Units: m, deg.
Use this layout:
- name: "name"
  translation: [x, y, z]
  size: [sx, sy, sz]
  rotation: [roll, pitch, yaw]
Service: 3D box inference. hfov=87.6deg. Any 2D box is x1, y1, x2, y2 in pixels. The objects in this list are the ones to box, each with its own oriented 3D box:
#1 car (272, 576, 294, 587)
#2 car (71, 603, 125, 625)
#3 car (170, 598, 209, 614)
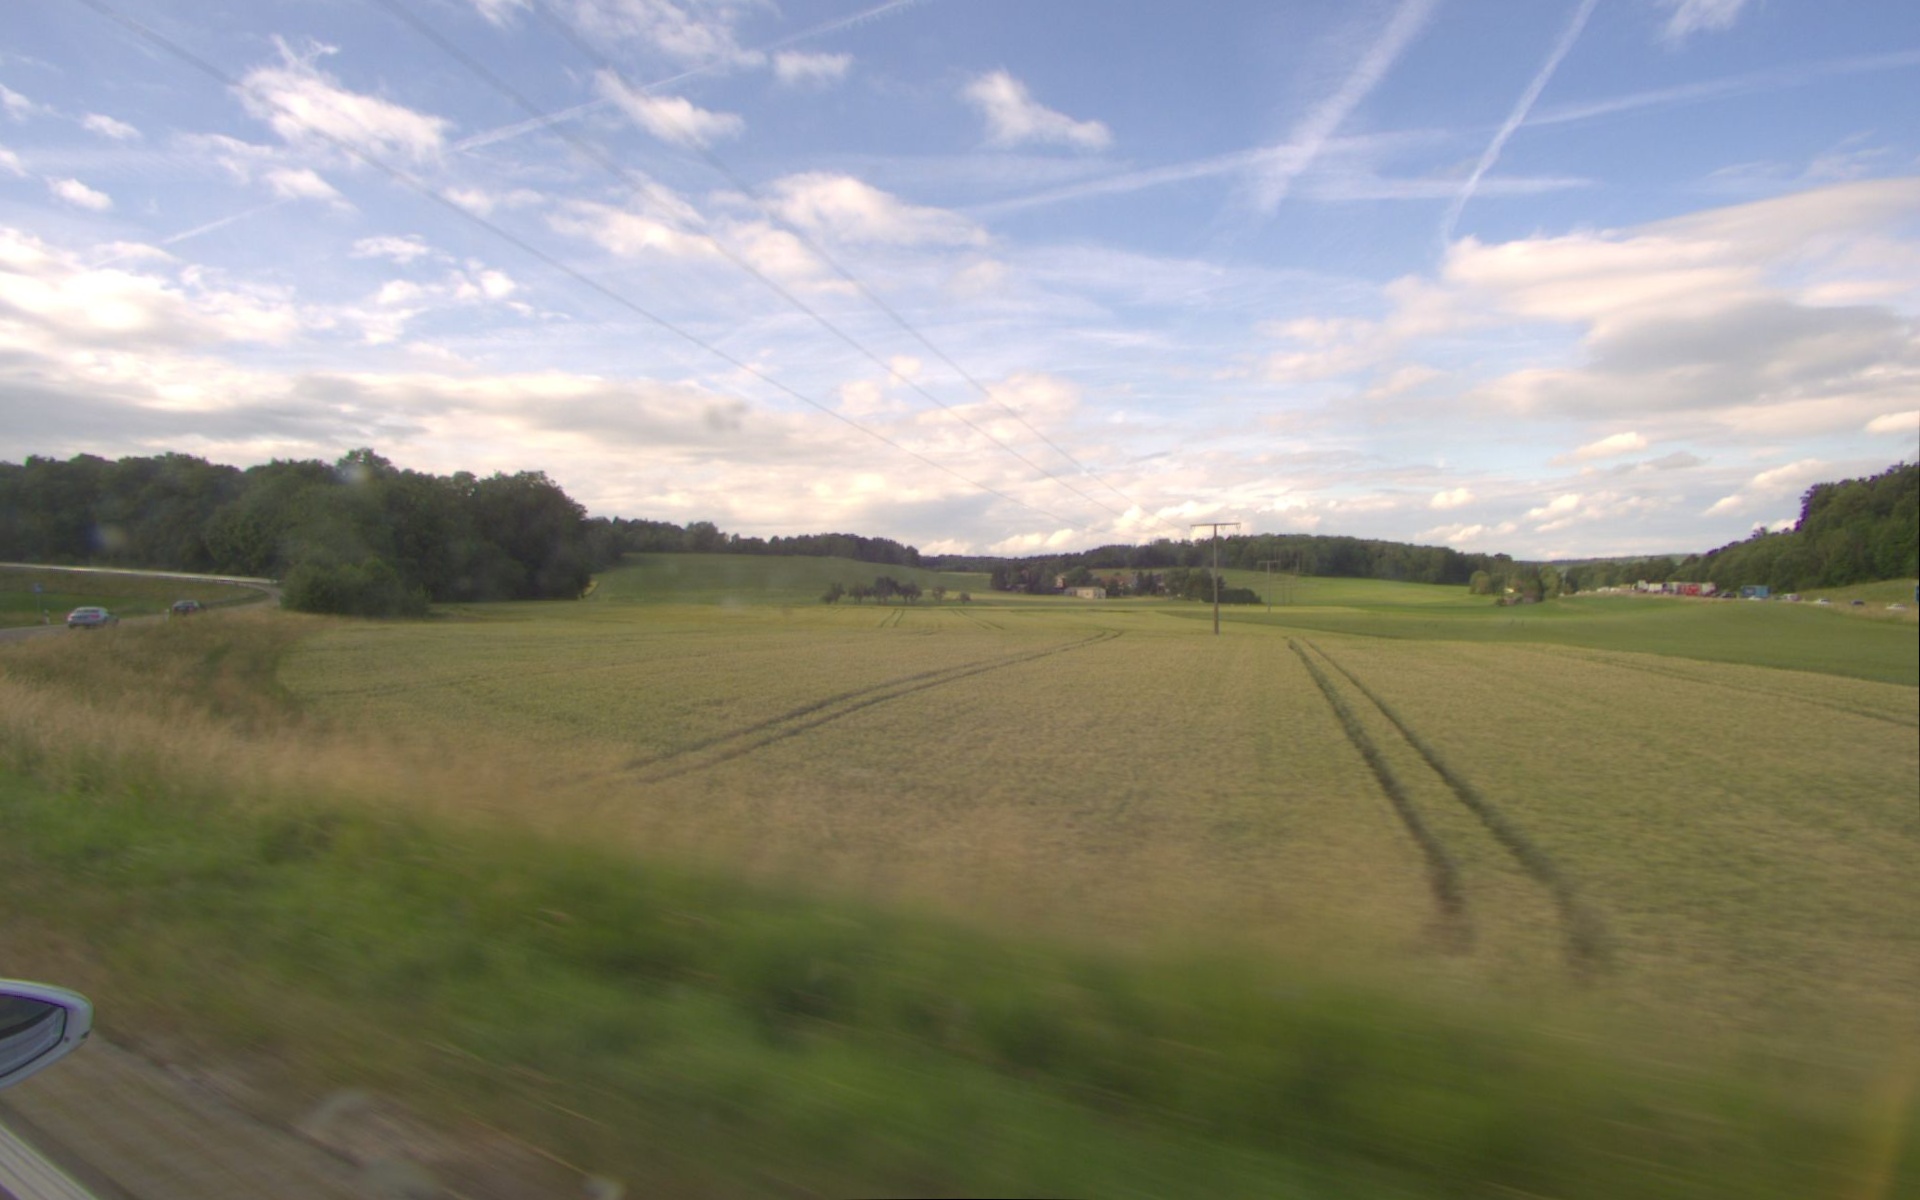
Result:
- name: "car"
  translation: [-117.741, -3.204, 174.048]
  size: [3.946, 1.796, 1.987]
  rotation: [2, 2, 36]
- name: "car"
  translation: [-58.579, 0.924, 68.125]
  size: [1.661, 1.394, 3.985]
  rotation: [-2, 1, -25]
- name: "car"
  translation: [-68.353, 0.488, 88.904]
  size: [1.449, 1.244, 3.293]
  rotation: [-3, 2, -14]
